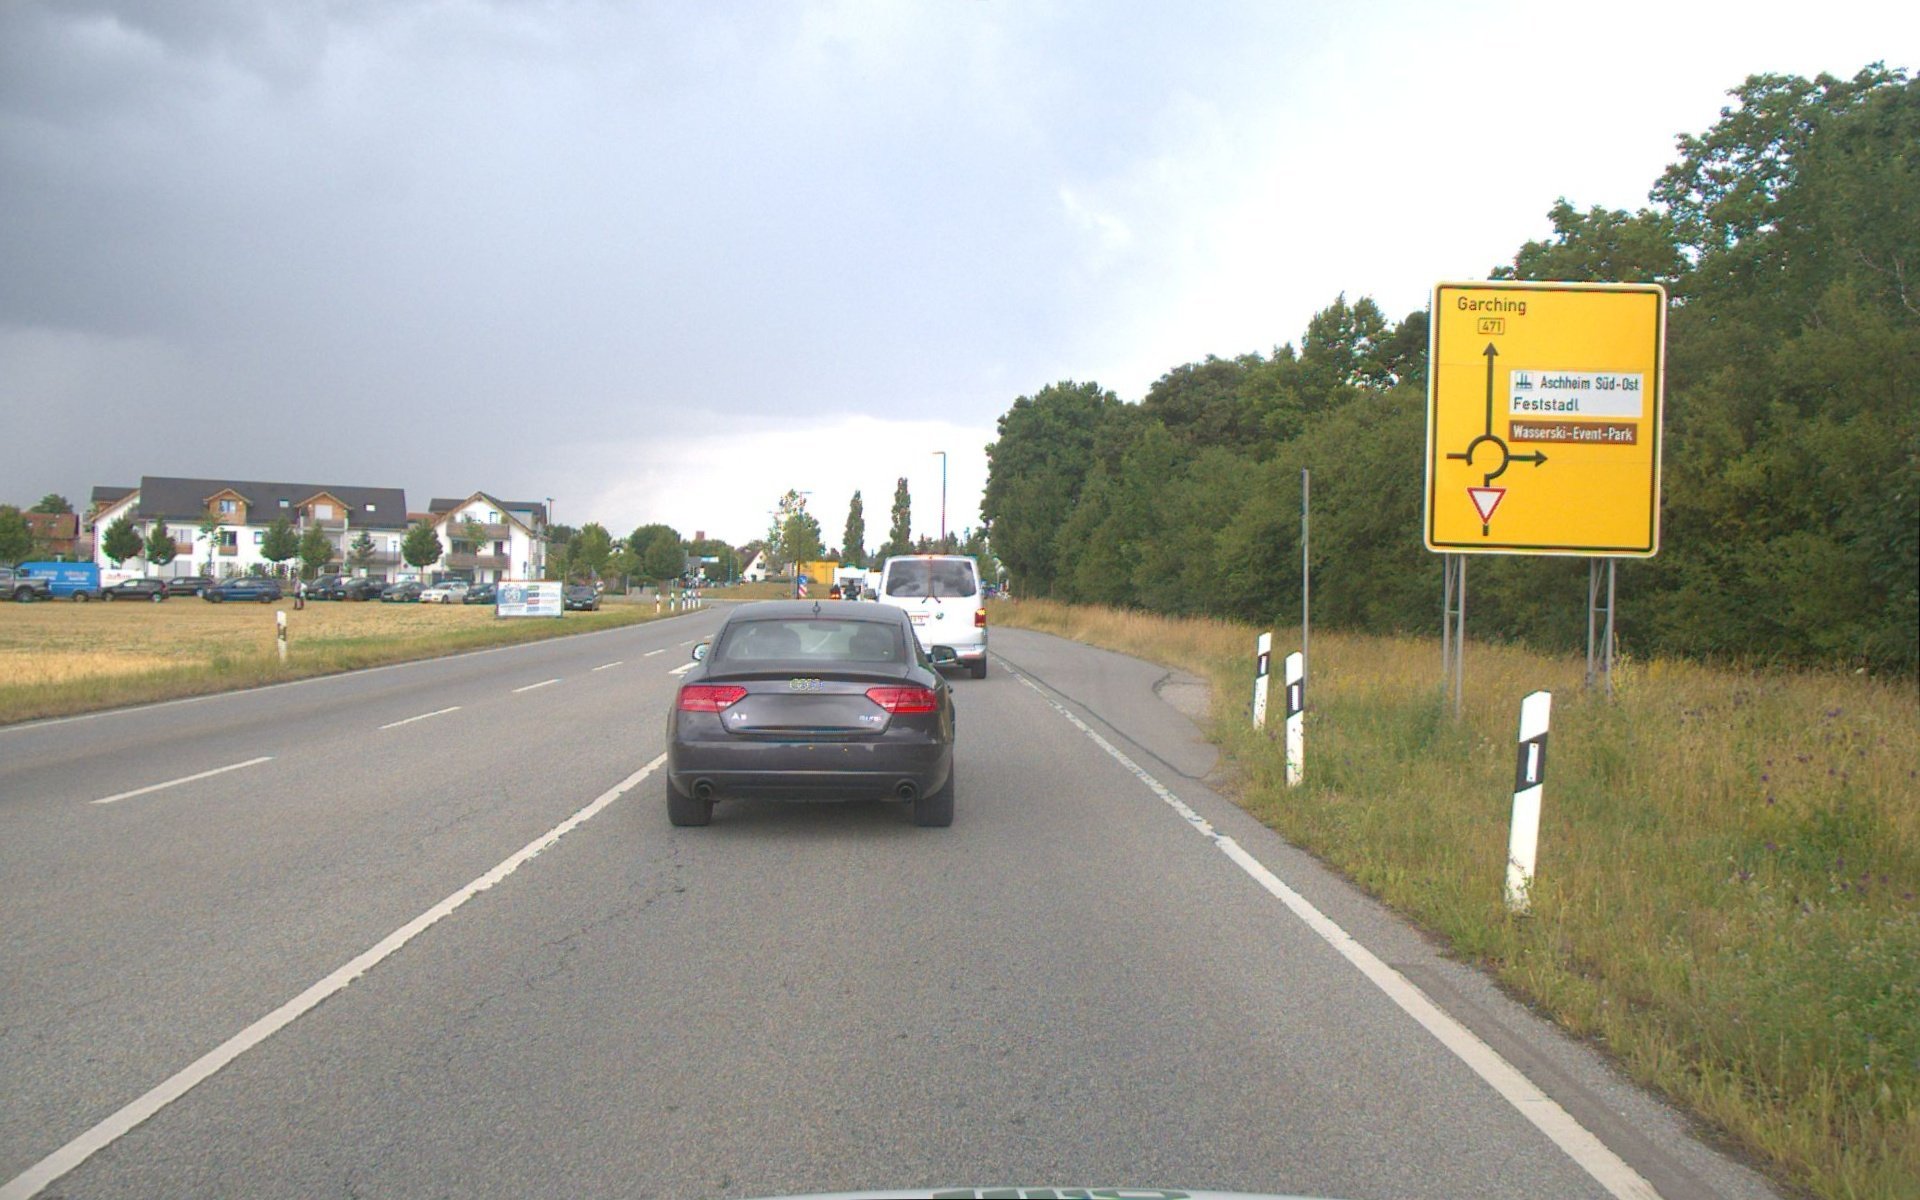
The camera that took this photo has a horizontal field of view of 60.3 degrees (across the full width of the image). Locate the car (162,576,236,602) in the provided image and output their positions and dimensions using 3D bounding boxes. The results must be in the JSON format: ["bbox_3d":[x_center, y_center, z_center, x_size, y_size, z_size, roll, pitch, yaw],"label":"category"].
[{"bbox_3d":[-53.163,-0.763,115.602,4.562,1.727,1.986,1,0,-23],"label":"car"}]

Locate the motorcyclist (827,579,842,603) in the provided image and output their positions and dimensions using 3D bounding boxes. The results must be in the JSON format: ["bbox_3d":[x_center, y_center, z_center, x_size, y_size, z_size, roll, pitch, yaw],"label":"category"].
[{"bbox_3d":[-7.331,-0.545,96.492,0.771,1.380,0.852,1,0,-8],"label":"motorcyclist"}]

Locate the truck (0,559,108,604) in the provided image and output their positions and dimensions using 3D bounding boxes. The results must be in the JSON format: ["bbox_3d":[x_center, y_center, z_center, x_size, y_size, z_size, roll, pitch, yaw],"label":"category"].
[{"bbox_3d":[-53.036,-1.082,96.869,5.379,2.488,2.375,1,0,-26],"label":"truck"}]

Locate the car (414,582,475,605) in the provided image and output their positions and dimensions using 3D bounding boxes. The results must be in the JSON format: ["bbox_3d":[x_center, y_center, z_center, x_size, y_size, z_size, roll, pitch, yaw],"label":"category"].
[{"bbox_3d":[-34.770,-0.422,111.621,1.951,1.471,4.214,1,0,16],"label":"car"}]

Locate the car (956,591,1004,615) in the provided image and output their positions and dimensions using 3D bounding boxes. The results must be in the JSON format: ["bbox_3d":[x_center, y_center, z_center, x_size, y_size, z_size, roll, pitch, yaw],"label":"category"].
[{"bbox_3d":[1.834,0.275,151.267,3.903,2.049,2.001,2,0,18],"label":"car"}]

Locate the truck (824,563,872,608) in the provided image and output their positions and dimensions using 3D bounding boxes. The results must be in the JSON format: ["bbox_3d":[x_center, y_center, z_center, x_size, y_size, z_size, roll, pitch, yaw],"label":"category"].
[{"bbox_3d":[-7.329,-0.948,107.735,2.578,2.785,5.855,2,0,-9],"label":"truck"}]

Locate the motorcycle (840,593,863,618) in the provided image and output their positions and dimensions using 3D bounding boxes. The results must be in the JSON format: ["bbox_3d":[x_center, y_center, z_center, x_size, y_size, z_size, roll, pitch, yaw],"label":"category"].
[{"bbox_3d":[-5.016,0.250,76.685,0.901,1.113,2.188,1,0,-1],"label":"motorcycle"}]

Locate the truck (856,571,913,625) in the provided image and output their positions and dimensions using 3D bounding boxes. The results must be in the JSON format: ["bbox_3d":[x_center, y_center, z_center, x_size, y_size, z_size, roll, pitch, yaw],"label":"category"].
[{"bbox_3d":[-3.001,-0.097,66.456,2.149,2.049,5.082,1,0,-2],"label":"truck"}]

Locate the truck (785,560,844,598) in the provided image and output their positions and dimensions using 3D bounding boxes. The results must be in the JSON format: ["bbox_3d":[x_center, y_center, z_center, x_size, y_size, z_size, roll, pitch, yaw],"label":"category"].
[{"bbox_3d":[-14.932,-2.211,169.166,3.524,3.640,9.897,2,1,-20],"label":"truck"}]

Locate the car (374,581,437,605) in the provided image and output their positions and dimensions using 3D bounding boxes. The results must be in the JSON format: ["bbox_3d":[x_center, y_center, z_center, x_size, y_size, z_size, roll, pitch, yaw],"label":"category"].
[{"bbox_3d":[-37.494,-0.468,111.909,1.951,1.562,4.214,1,0,16],"label":"car"}]

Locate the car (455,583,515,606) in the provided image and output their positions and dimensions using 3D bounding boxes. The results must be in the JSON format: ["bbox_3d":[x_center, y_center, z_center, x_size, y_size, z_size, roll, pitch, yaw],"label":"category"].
[{"bbox_3d":[-31.930,-0.357,111.304,1.951,1.471,4.214,1,0,16],"label":"car"}]

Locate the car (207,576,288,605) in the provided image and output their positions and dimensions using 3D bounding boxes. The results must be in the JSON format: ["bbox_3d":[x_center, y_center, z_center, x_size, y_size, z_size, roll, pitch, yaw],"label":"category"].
[{"bbox_3d":[-44.880,-0.577,104.282,4.651,1.727,1.986,1,0,-23],"label":"car"}]

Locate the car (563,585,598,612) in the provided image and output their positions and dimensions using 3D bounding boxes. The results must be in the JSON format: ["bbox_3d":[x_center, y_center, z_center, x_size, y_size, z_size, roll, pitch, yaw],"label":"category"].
[{"bbox_3d":[-22.789,-0.102,99.361,1.959,1.467,3.987,1,1,-13],"label":"car"}]

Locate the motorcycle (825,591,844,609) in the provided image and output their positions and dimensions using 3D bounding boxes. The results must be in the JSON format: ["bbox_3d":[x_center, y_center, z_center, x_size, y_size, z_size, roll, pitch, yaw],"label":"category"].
[{"bbox_3d":[-7.320,-0.014,96.399,0.926,1.037,2.280,1,0,-8],"label":"motorcycle"}]

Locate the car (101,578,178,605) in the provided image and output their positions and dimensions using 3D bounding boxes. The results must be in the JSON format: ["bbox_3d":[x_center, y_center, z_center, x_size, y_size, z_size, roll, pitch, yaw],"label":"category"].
[{"bbox_3d":[-50.432,-0.511,101.718,4.098,1.545,1.986,1,0,-23],"label":"car"}]

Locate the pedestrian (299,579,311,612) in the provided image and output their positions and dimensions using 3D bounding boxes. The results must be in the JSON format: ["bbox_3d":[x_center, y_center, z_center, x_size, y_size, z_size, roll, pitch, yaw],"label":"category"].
[{"bbox_3d":[-36.864,-0.241,93.085,0.539,1.817,0.676,1,0,-14],"label":"pedestrian"}]

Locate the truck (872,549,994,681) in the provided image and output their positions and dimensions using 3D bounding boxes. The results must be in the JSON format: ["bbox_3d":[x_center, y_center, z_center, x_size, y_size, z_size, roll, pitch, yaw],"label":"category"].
[{"bbox_3d":[-0.504,0.217,28.094,1.866,2.033,4.626,1,0,-2],"label":"truck"}]

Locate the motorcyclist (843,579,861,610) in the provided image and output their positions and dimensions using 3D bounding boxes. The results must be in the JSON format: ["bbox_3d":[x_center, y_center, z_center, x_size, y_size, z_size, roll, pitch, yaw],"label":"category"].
[{"bbox_3d":[-5.006,-0.238,76.569,0.756,1.407,0.820,1,0,-1],"label":"motorcyclist"}]

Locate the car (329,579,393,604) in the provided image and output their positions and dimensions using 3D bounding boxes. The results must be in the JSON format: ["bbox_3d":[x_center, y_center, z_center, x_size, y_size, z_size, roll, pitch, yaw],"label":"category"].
[{"bbox_3d":[-40.607,-0.576,112.223,1.951,1.657,4.214,1,0,16],"label":"car"}]

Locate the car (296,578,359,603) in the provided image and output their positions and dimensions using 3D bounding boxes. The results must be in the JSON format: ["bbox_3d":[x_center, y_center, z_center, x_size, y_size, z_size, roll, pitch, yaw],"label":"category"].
[{"bbox_3d":[-43.628,-0.655,114.193,1.951,1.657,4.214,1,0,16],"label":"car"}]

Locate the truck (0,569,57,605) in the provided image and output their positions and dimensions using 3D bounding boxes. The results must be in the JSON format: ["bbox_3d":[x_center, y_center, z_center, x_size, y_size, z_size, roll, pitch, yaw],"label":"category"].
[{"bbox_3d":[-53.558,-0.736,92.680,5.169,1.954,2.092,1,0,-29],"label":"truck"}]

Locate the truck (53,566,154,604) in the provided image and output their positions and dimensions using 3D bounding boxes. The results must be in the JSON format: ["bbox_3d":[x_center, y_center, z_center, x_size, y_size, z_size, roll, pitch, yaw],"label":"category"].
[{"bbox_3d":[-53.991,-0.931,104.391,5.495,2.235,2.586,1,0,-26],"label":"truck"}]

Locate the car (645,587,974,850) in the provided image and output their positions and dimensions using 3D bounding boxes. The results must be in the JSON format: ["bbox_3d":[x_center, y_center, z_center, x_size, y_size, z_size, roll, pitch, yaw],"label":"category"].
[{"bbox_3d":[-0.944,0.656,11.429,1.837,1.479,4.175,0,0,-3],"label":"car"}]
